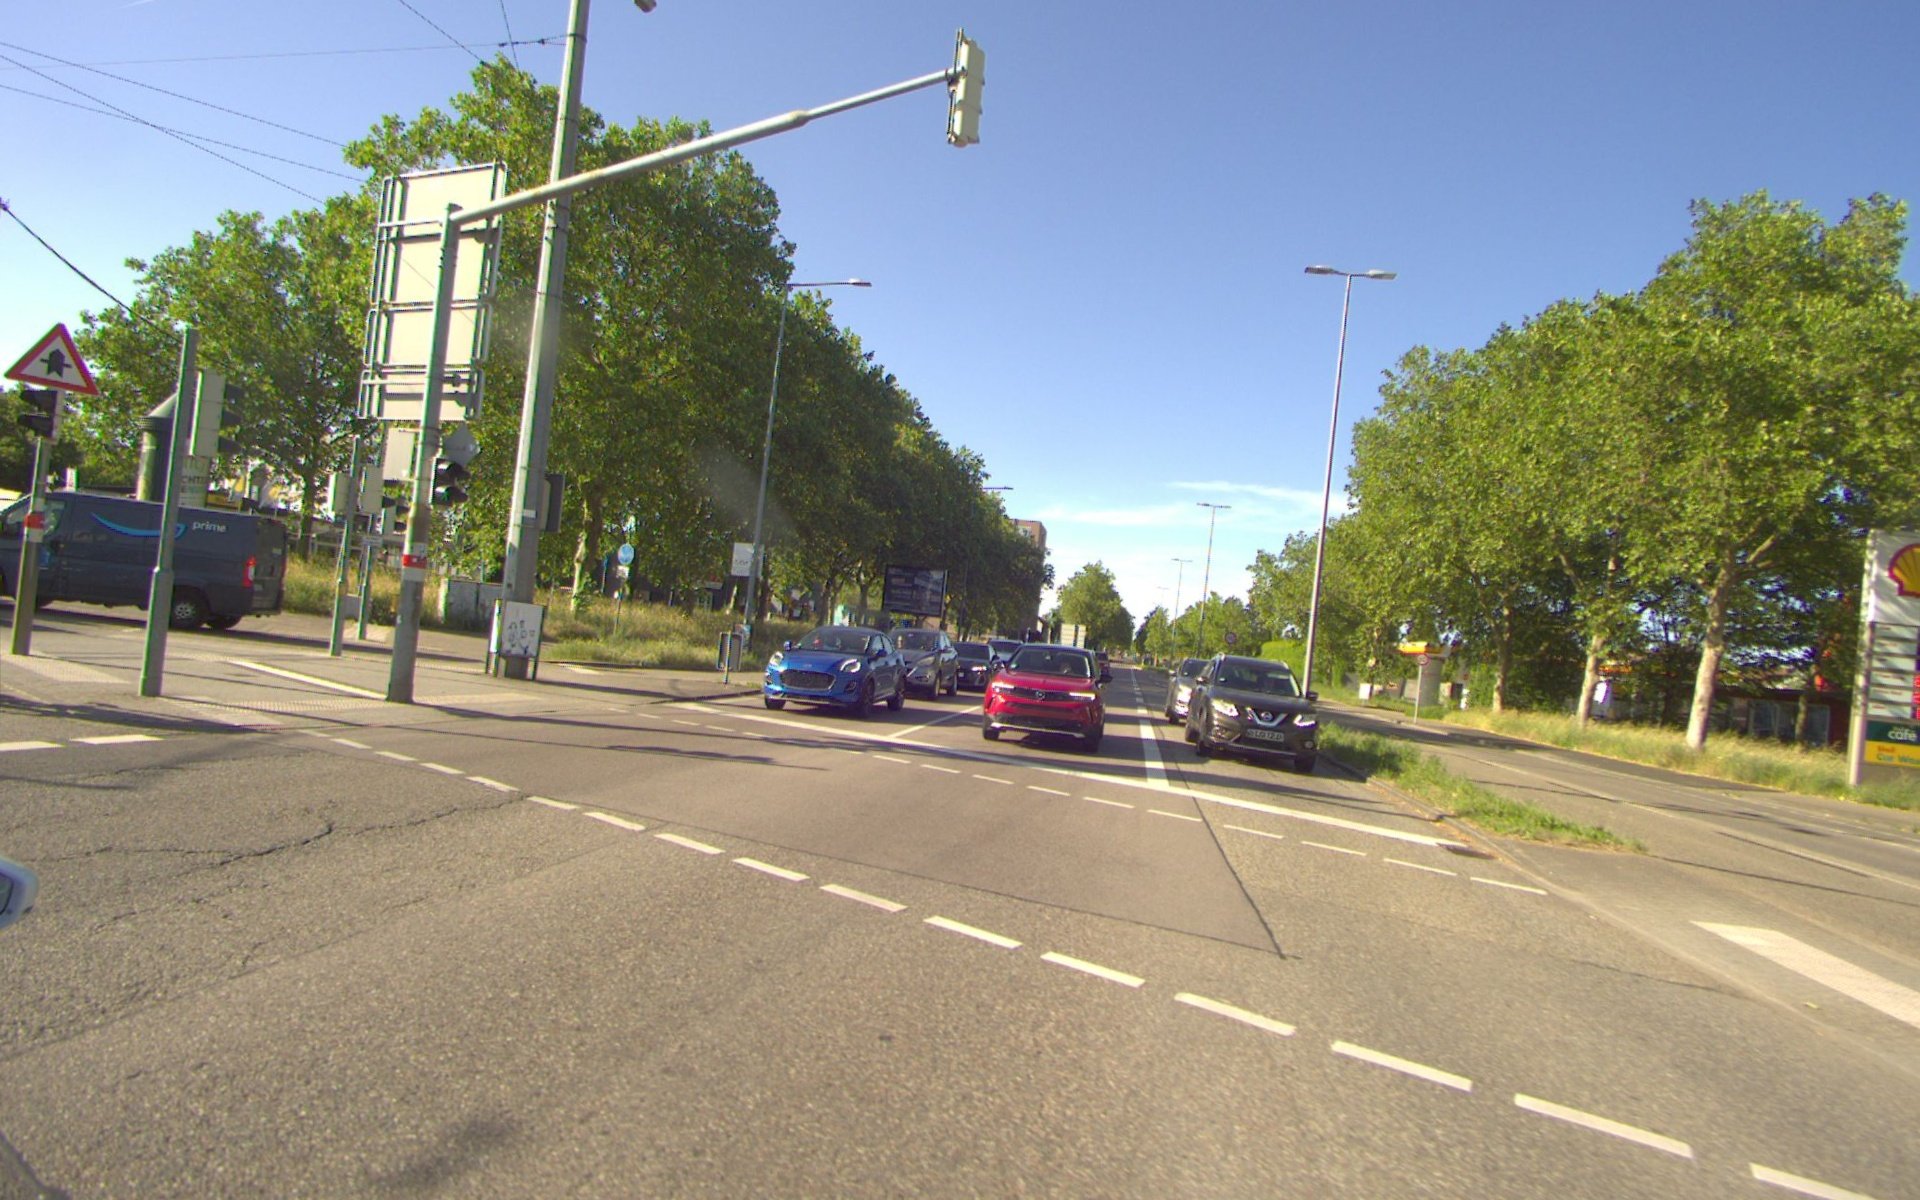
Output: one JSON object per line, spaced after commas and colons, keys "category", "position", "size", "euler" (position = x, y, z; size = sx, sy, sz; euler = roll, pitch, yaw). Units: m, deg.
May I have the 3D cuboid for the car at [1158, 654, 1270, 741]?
{"category": "car", "position": [5.977, 2.243, 24.145], "size": [1.962, 1.637, 4.004], "euler": [6, -1, 7]}

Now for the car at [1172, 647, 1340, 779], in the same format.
{"category": "car", "position": [4.866, 1.777, 17.185], "size": [1.884, 1.731, 4.499], "euler": [6, -2, 7]}

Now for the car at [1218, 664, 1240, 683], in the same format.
{"category": "car", "position": [27.986, 7.638, 104.687], "size": [1.792, 1.724, 3.778], "euler": [6, -2, 10]}

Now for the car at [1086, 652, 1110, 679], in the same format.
{"category": "car", "position": [8.797, 4.154, 64.188], "size": [1.346, 1.635, 3.212], "euler": [3, -2, 6]}

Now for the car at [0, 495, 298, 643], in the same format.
{"category": "car", "position": [-15.421, -0.565, 18.388], "size": [5.052, 2.094, 2.120], "euler": [7, -2, -23]}

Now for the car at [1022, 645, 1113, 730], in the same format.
{"category": "car", "position": [2.597, 1.983, 23.603], "size": [1.680, 1.619, 3.864], "euler": [6, -2, 11]}

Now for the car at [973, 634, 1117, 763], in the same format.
{"category": "car", "position": [1.506, 1.484, 16.217], "size": [1.781, 1.619, 4.094], "euler": [6, -2, 10]}

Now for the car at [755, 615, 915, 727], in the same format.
{"category": "car", "position": [-2.101, 1.228, 18.041], "size": [1.680, 1.619, 3.864], "euler": [6, -2, 9]}

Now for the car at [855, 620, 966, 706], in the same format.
{"category": "car", "position": [-1.102, 1.494, 24.532], "size": [1.897, 1.698, 4.179], "euler": [6, -2, 7]}

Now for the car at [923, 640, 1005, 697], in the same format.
{"category": "car", "position": [0.214, 2.074, 31.173], "size": [1.897, 1.424, 4.575], "euler": [6, -2, 7]}

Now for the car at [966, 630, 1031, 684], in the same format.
{"category": "car", "position": [1.521, 2.159, 37.667], "size": [1.872, 1.701, 4.784], "euler": [6, -3, 8]}
